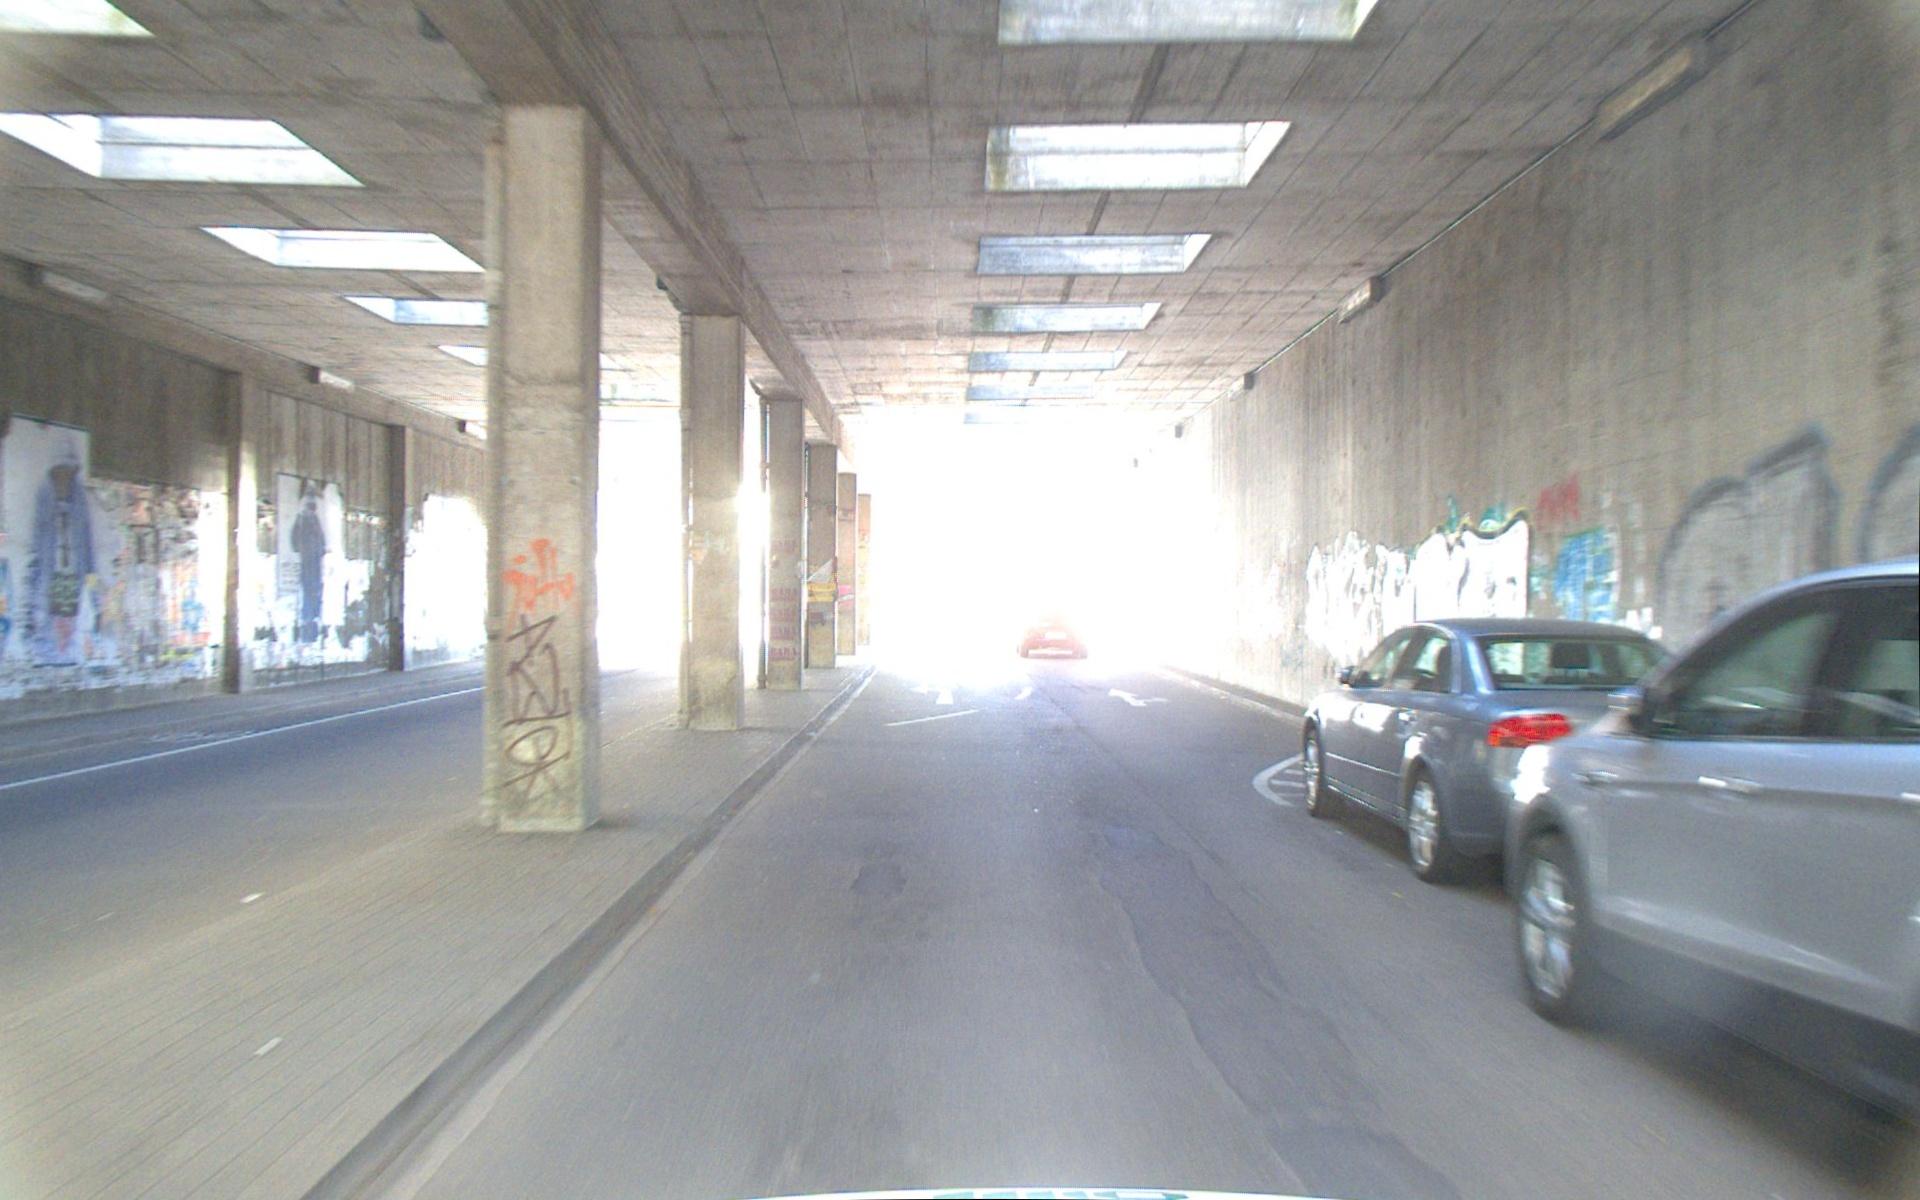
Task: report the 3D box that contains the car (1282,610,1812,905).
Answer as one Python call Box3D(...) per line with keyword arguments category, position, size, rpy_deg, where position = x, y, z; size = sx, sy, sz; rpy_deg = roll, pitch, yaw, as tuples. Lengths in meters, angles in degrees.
Box3D(category="car", position=(3.318, 0.793, 10.321), size=(1.666, 1.398, 4.372), rpy_deg=(1, 0, -1))

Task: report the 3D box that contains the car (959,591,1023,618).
Box3D(category="car", position=(2.055, 0.299, 109.711), size=(4.062, 1.769, 2.002), rpy_deg=(-1, 0, 7))

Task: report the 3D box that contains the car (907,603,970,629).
Box3D(category="car", position=(-1.349, 1.025, 105.547), size=(3.903, 1.601, 1.640), rpy_deg=(0, 0, 3))

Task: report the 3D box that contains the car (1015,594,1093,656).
Box3D(category="car", position=(2.387, 0.608, 42.807), size=(1.789, 1.527, 4.211), rpy_deg=(0, 0, 0))

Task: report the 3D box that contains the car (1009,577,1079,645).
Box3D(category="car", position=(2.460, 0.296, 49.203), size=(1.778, 1.915, 4.585), rpy_deg=(-1, 0, -1))

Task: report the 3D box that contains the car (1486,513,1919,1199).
Box3D(category="car", position=(3.130, 0.643, 4.665), size=(1.815, 1.695, 4.370), rpy_deg=(0, 1, -1))

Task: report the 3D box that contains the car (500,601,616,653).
Box3D(category="car", position=(-16.899, 1.116, 69.701), size=(4.388, 2.048, 2.000), rpy_deg=(0, 2, -1))
